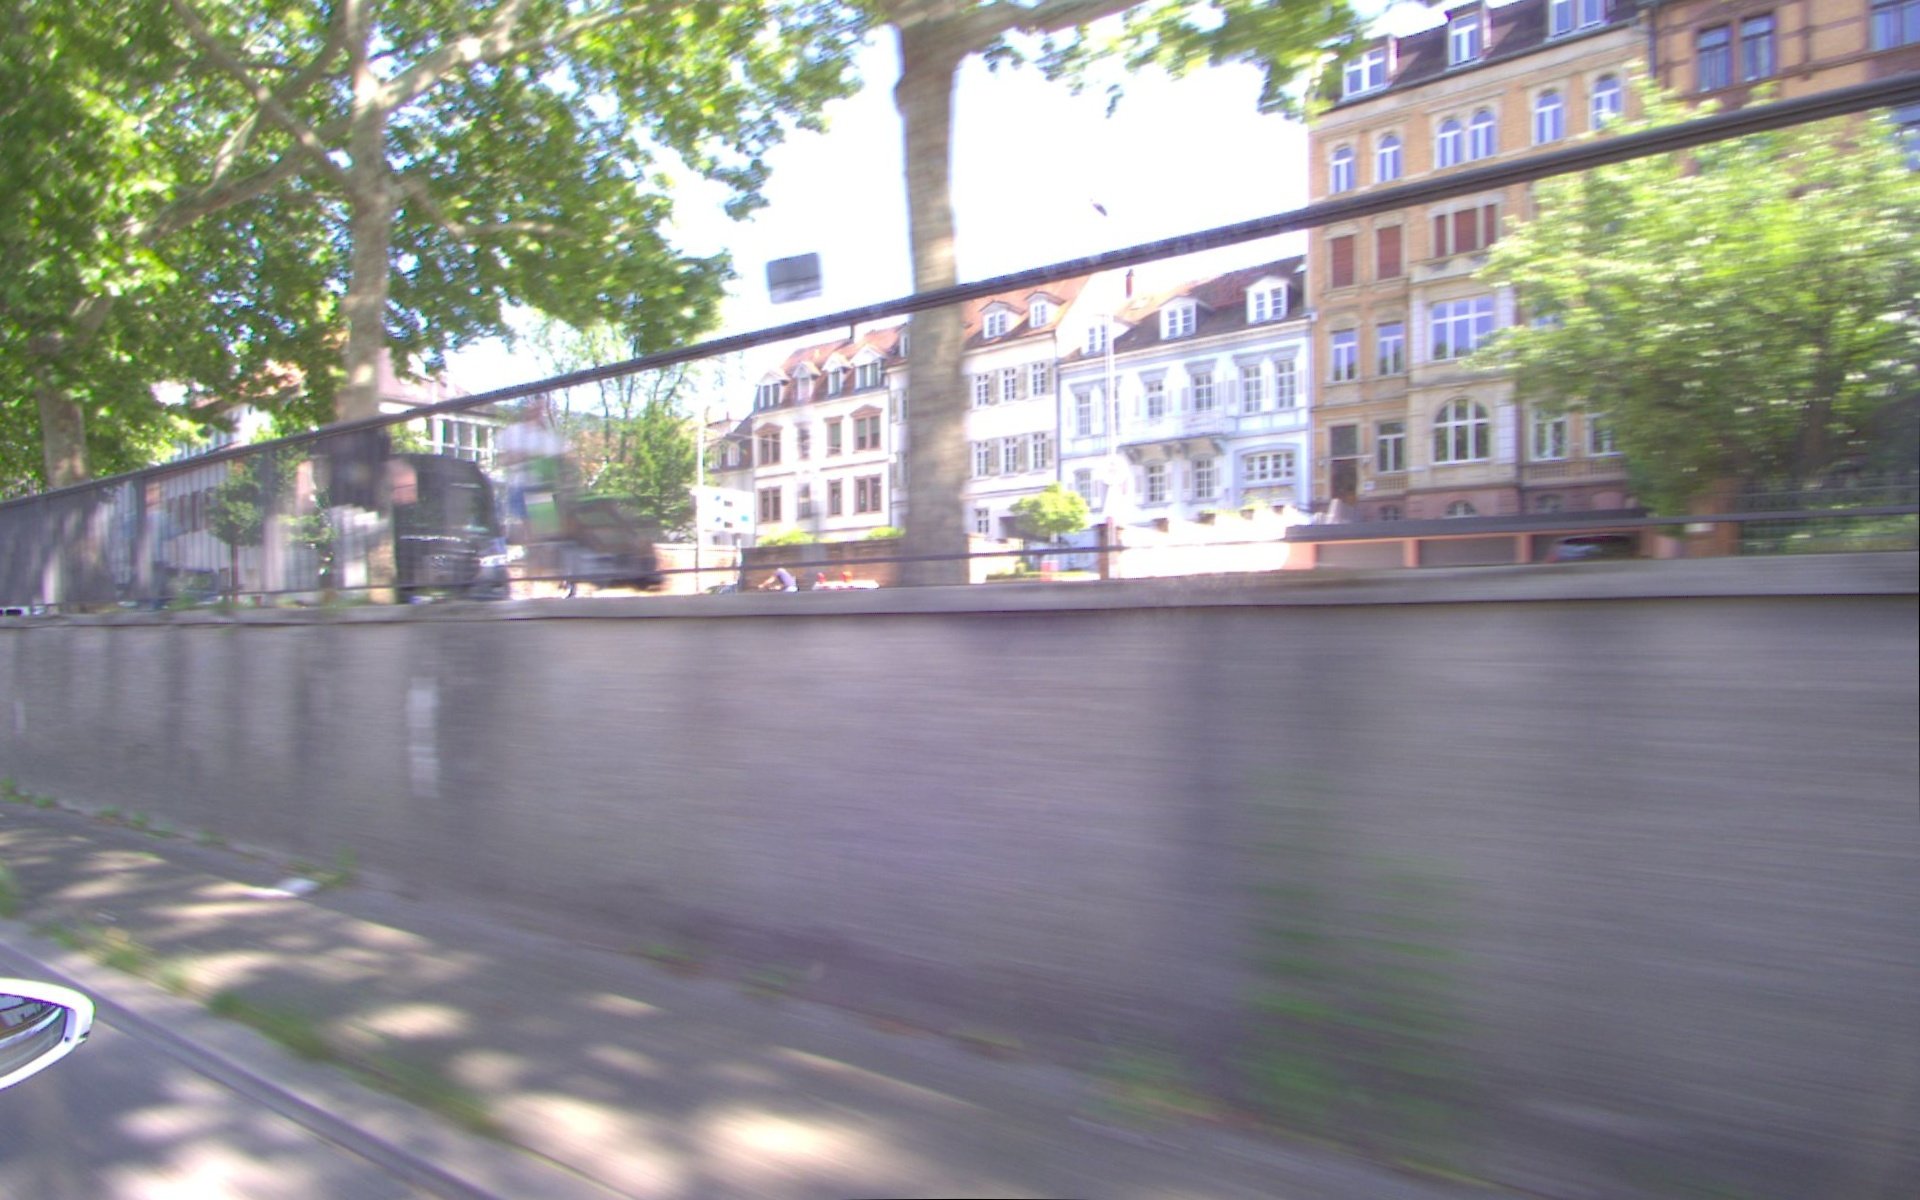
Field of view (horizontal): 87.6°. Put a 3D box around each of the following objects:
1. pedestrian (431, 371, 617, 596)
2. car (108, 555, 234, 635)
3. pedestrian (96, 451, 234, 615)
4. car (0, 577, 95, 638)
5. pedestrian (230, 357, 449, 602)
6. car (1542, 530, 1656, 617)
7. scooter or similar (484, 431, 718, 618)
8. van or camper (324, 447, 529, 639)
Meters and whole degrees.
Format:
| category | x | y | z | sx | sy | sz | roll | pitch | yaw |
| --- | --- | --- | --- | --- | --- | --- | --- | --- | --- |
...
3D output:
| category | x | y | z | sx | sy | sz | roll | pitch | yaw |
| --- | --- | --- | --- | --- | --- | --- | --- | --- | --- |
| pedestrian | -2.960 | -0.736 | 6.809 | 0.975 | 1.384 | 0.678 | 0 | 2 | 32 |
| car | -16.401 | -0.030 | 20.974 | 1.632 | 1.519 | 3.797 | 0 | -2 | -32 |
| pedestrian | -7.423 | -0.596 | 9.361 | 0.935 | 1.444 | 0.678 | 0 | 2 | 32 |
| car | -24.079 | 0.227 | 25.906 | 1.754 | 1.488 | 3.981 | 1 | -2 | -29 |
| pedestrian | -4.499 | -0.807 | 7.292 | 1.012 | 1.601 | 0.934 | 0 | 2 | 30 |
| car | 12.768 | -0.439 | 20.070 | 1.766 | 1.557 | 3.777 | 0 | -1 | 32 |
| scooter or similar | -2.234 | -0.430 | 6.264 | 1.091 | 1.040 | 0.853 | -1 | 2 | 32 |
| van or camper | -8.648 | -0.577 | 16.393 | 2.311 | 2.210 | 7.328 | 2 | -4 | -28 |
